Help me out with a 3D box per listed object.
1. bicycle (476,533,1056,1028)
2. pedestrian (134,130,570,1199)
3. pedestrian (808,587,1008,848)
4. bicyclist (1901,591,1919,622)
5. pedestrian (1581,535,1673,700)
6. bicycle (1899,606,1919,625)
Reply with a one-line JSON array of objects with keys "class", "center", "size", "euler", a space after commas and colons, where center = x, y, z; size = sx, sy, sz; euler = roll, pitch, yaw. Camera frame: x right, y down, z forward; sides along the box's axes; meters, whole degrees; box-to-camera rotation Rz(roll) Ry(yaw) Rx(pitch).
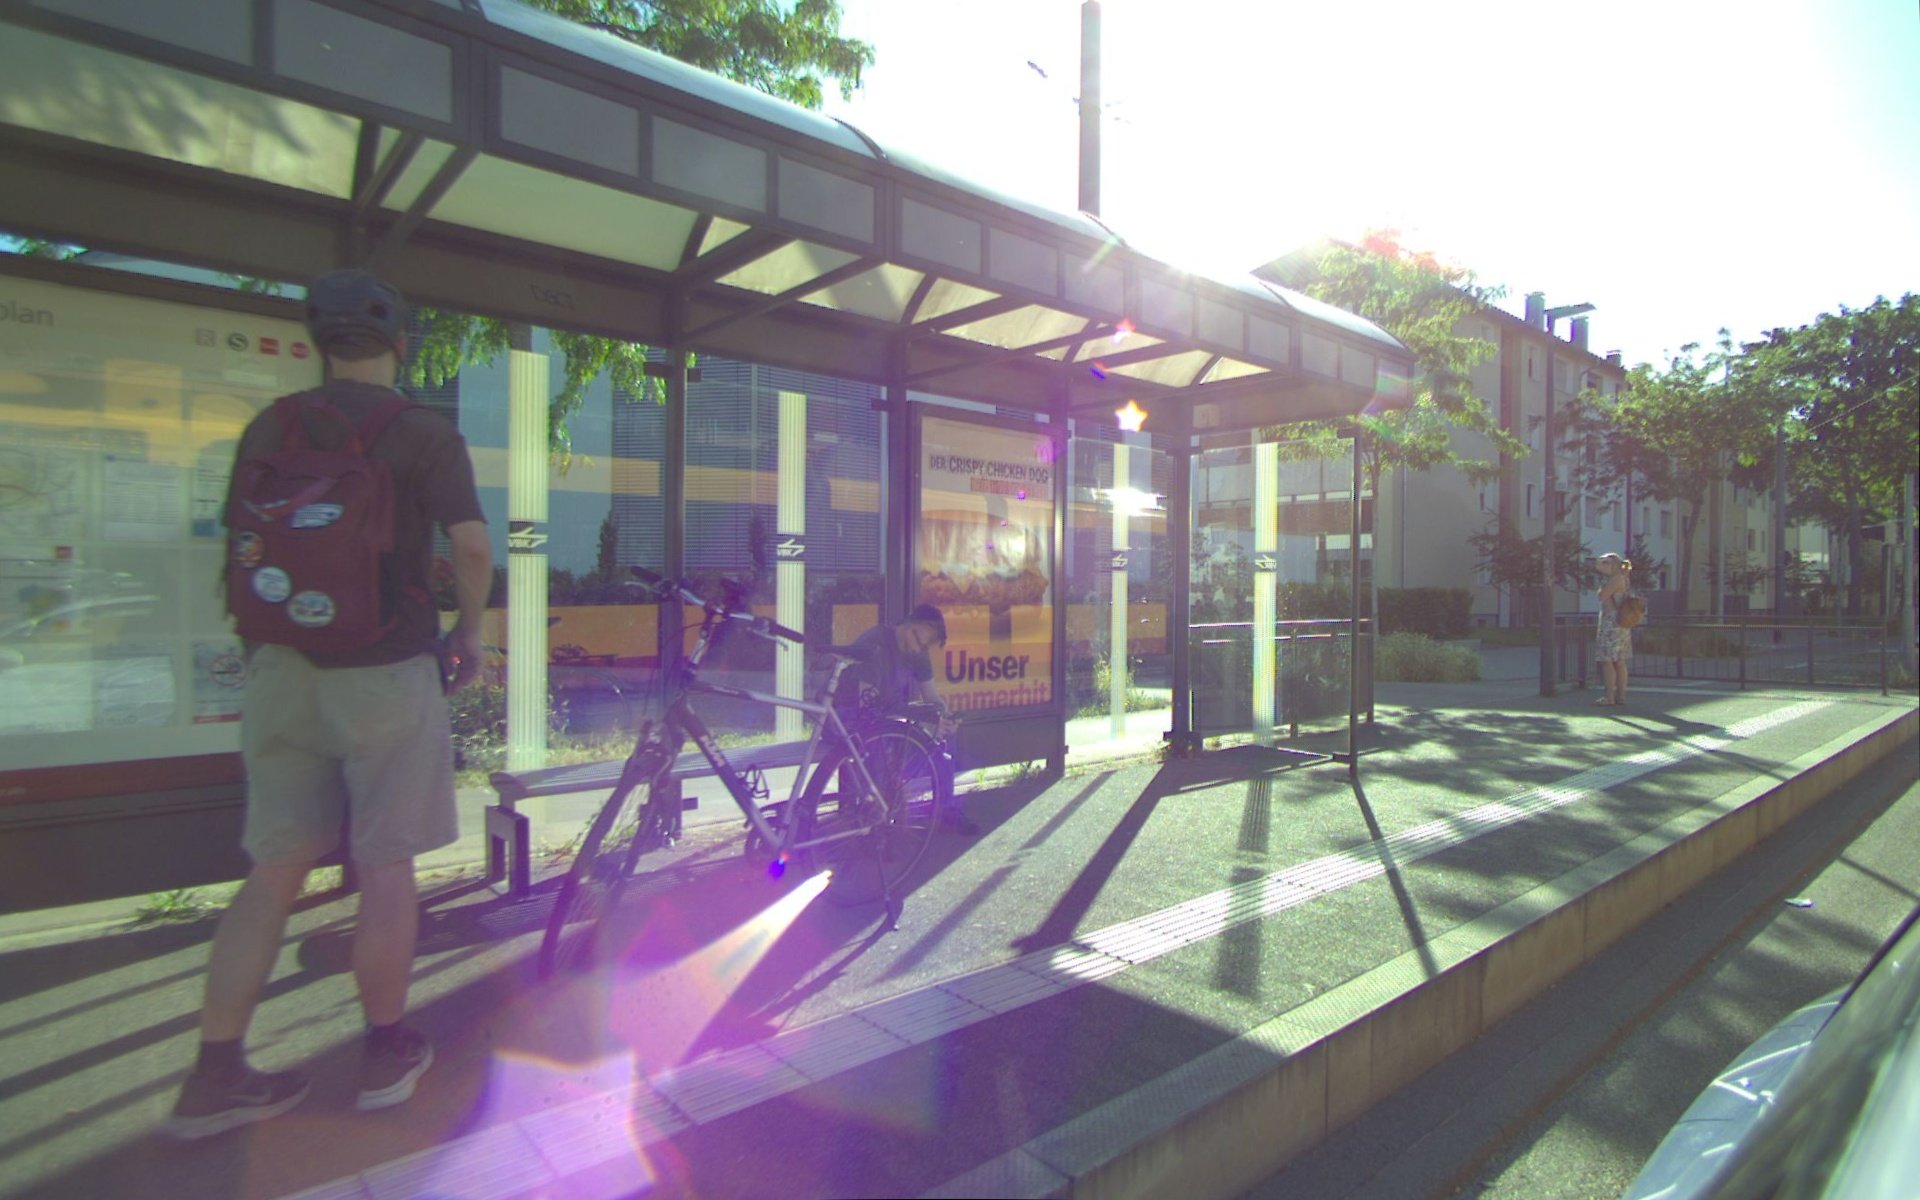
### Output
[{"class": "bicycle", "center": [-0.530, 0.446, 3.453], "size": [1.935, 1.245, 0.620], "euler": [0, 0, -45]}, {"class": "pedestrian", "center": [-1.331, 0.142, 2.210], "size": [0.716, 1.877, 0.712], "euler": [0, -1, -39]}, {"class": "pedestrian", "center": [-0.260, 0.510, 4.885], "size": [0.647, 1.131, 0.739], "euler": [0, -1, -41]}, {"class": "bicyclist", "center": [46.164, 0.310, 48.881], "size": [1.235, 1.518, 0.819], "euler": [0, 0, -37]}, {"class": "pedestrian", "center": [7.317, 0.184, 11.105], "size": [0.679, 1.726, 0.672], "euler": [0, -1, -41]}, {"class": "bicycle", "center": [46.198, 0.745, 48.912], "size": [2.157, 0.897, 0.827], "euler": [0, 1, -37]}]
